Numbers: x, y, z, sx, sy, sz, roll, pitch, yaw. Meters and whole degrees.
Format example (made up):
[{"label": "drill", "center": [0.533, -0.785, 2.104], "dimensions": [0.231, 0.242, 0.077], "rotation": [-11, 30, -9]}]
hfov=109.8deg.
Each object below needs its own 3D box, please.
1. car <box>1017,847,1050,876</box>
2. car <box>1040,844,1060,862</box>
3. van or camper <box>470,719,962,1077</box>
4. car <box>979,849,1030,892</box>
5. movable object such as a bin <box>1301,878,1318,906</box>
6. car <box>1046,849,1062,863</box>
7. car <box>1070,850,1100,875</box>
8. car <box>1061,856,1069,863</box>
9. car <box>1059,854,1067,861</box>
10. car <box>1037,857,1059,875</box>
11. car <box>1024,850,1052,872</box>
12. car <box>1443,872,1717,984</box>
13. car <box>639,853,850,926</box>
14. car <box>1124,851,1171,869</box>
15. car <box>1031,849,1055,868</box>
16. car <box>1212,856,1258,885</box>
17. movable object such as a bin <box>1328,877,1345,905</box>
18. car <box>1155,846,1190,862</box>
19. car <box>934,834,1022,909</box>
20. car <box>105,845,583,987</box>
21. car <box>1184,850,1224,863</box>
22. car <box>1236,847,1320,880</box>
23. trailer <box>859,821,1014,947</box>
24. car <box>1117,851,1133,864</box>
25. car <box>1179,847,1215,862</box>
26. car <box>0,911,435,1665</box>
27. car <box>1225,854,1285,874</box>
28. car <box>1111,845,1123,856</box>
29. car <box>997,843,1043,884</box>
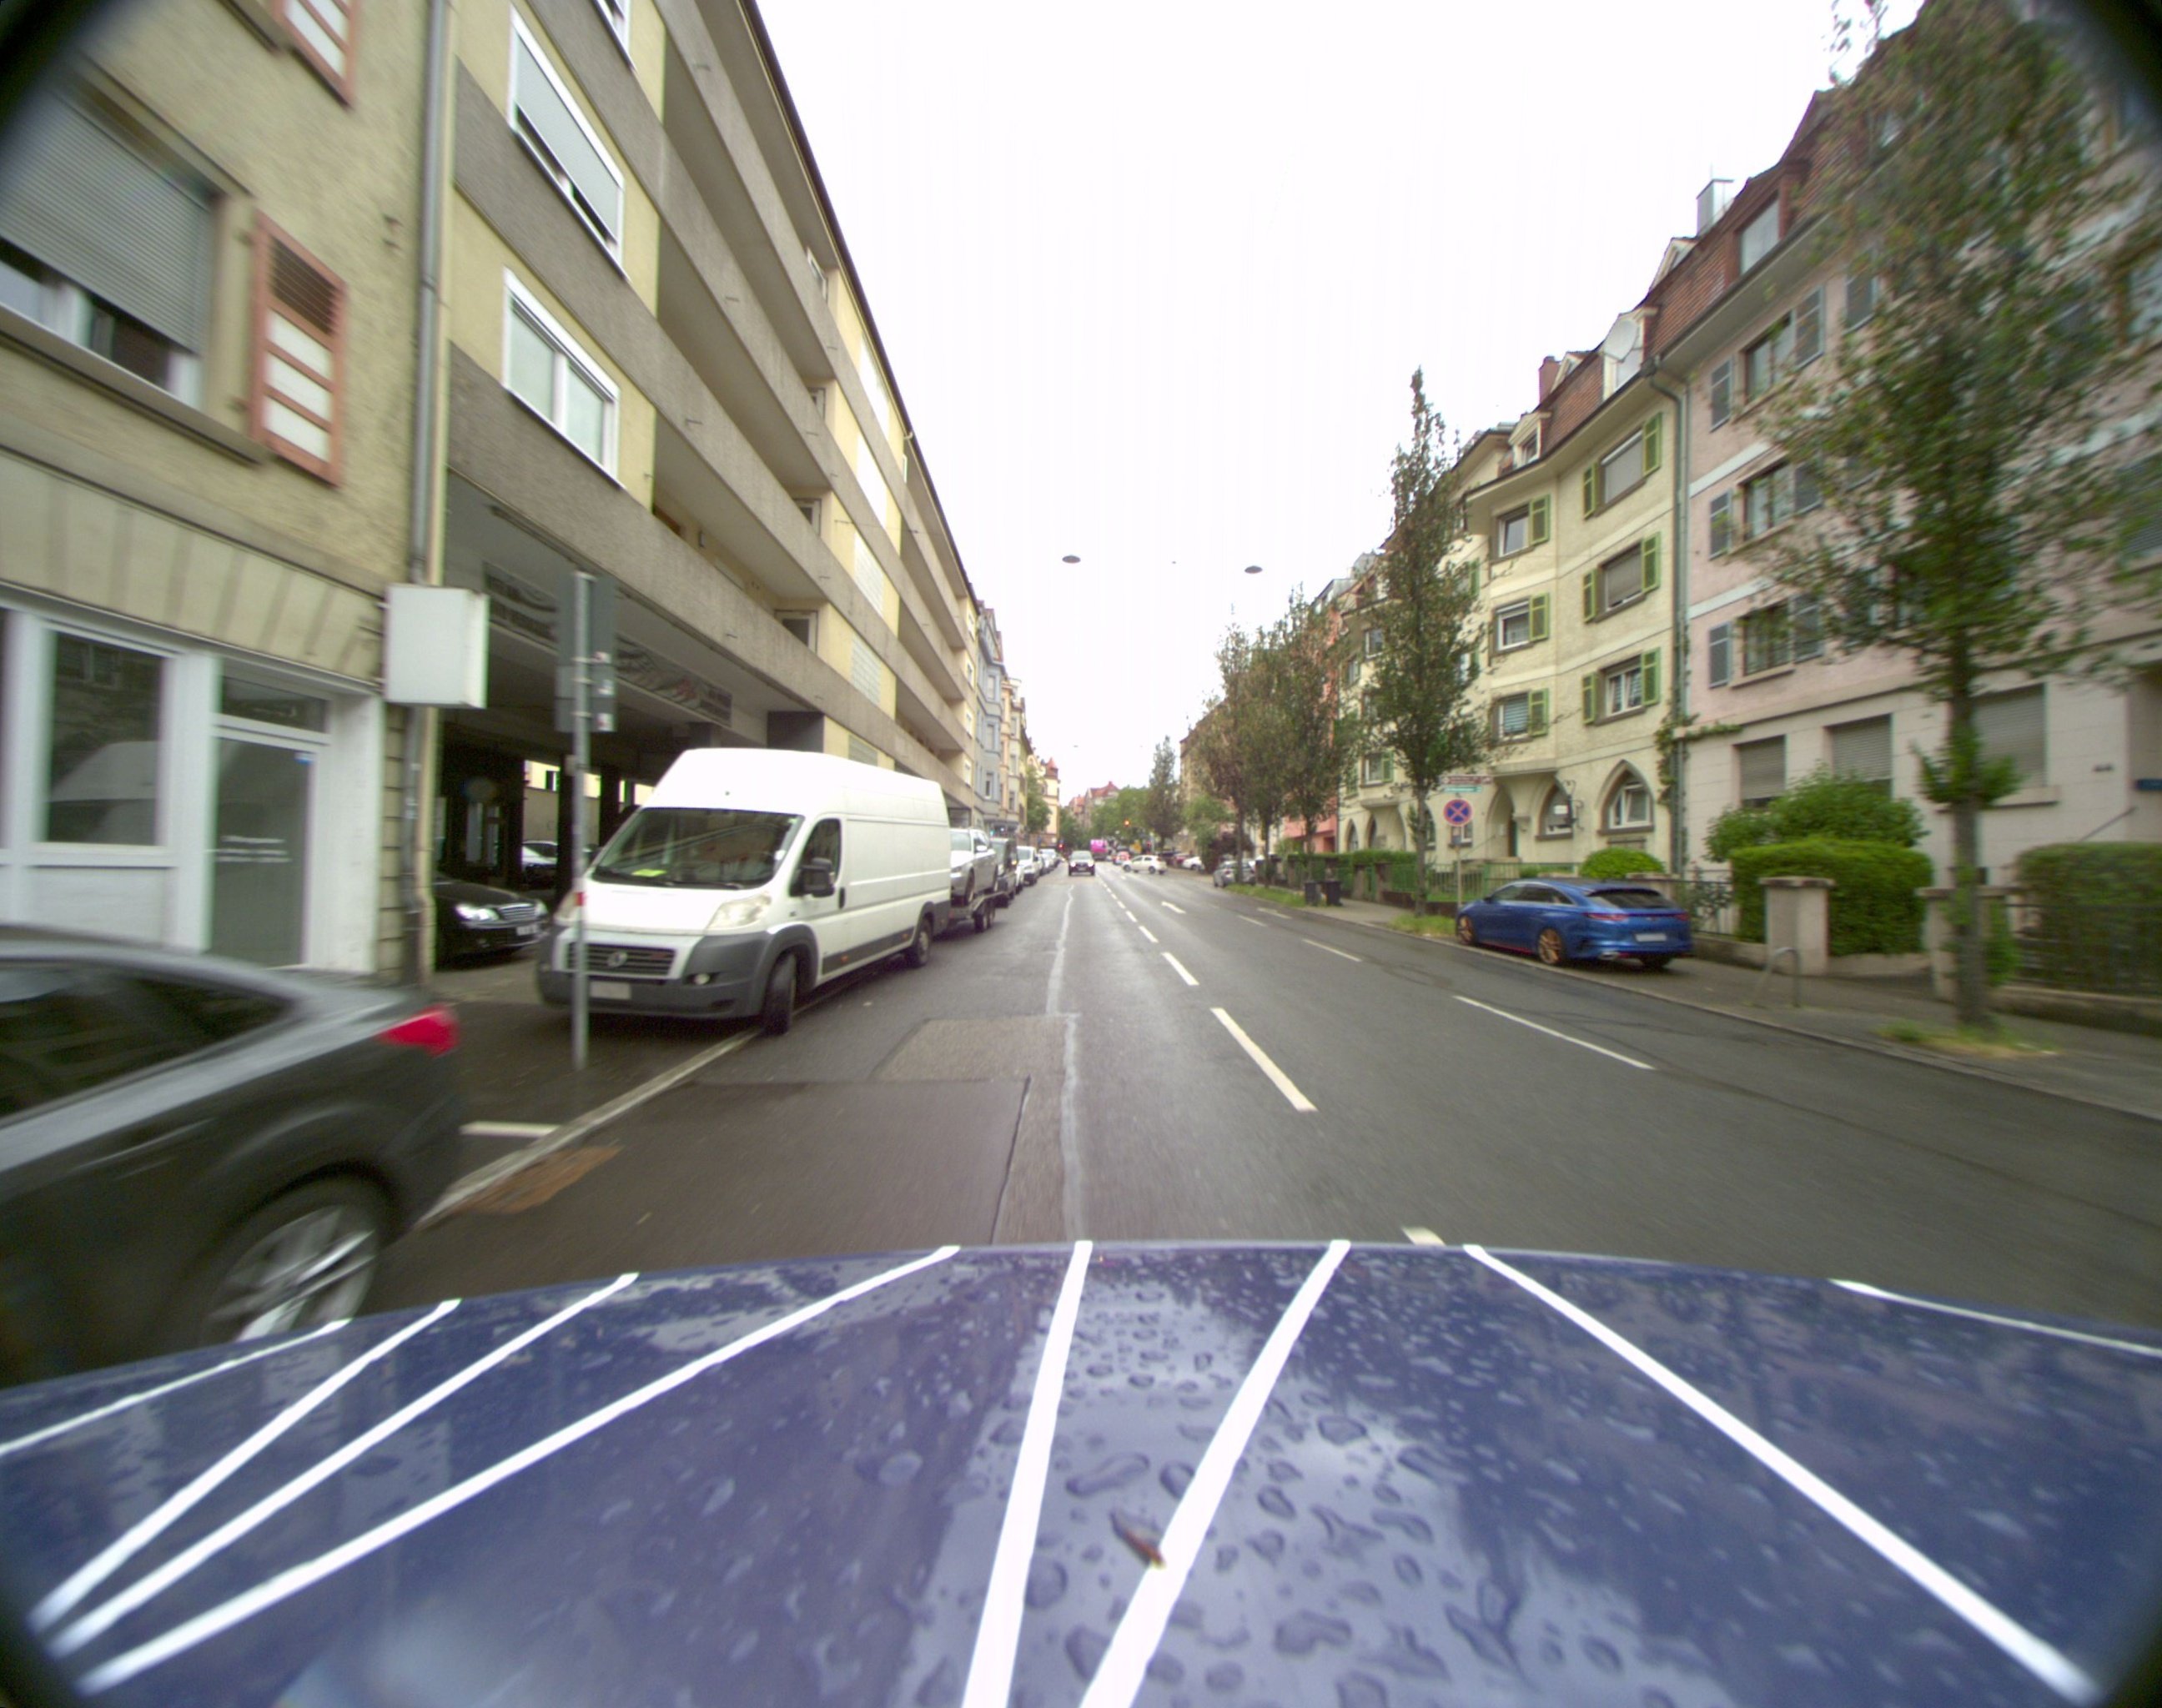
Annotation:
[{"label": "car", "center": [-2.960, 0.450, 47.924], "dimensions": [1.731, 1.588, 4.311], "rotation": [4, 1, 0]}, {"label": "car", "center": [-3.144, -0.137, 78.781], "dimensions": [1.826, 1.808, 4.519], "rotation": [1, 1, 0]}, {"label": "van or camper", "center": [-3.338, 0.302, 9.015], "dimensions": [2.189, 2.684, 6.422], "rotation": [1, 0, 6]}, {"label": "car", "center": [-3.179, 0.660, 32.333], "dimensions": [1.751, 1.630, 4.272], "rotation": [1, 1, -1]}, {"label": "movable object such as a bin", "center": [7.734, 1.278, 25.737], "dimensions": [0.365, 0.884, 0.572], "rotation": [-1, 1, -1]}, {"label": "car", "center": [-2.967, 0.174, 84.194], "dimensions": [1.627, 1.498, 3.745], "rotation": [1, 1, 0]}, {"label": "car", "center": [0.265, 0.542, 53.305], "dimensions": [1.890, 1.543, 3.998], "rotation": [-2, 1, -2]}, {"label": "car", "center": [-3.539, 1.235, 166.073], "dimensions": [1.553, 1.386, 3.745], "rotation": [1, 1, 0]}, {"label": "car", "center": [-3.976, 0.775, 165.826], "dimensions": [1.553, 1.386, 3.745], "rotation": [1, 1, 0]}, {"label": "car", "center": [-2.940, 1.032, 67.556], "dimensions": [1.709, 1.389, 3.932], "rotation": [-2, 1, 0]}, {"label": "car", "center": [-3.099, 0.495, 54.964], "dimensions": [1.731, 1.434, 4.357], "rotation": [1, 1, 0]}, {"label": "car", "center": [8.256, 1.121, 13.206], "dimensions": [1.683, 1.378, 4.601], "rotation": [1, 1, 0]}, {"label": "car", "center": [-7.464, 0.763, 17.075], "dimensions": [3.997, 1.383, 1.558], "rotation": [3, 1, 1]}, {"label": "car", "center": [5.684, 0.480, 65.069], "dimensions": [3.642, 1.464, 1.674], "rotation": [1, 2, 40]}, {"label": "car", "center": [-3.027, 0.349, 60.736], "dimensions": [1.709, 1.434, 3.932], "rotation": [1, 1, 0]}, {"label": "car", "center": [8.441, 0.860, 41.914], "dimensions": [1.685, 1.410, 4.137], "rotation": [1, 1, 0]}, {"label": "movable object such as a bin", "center": [8.710, 1.262, 25.898], "dimensions": [0.365, 0.906, 0.572], "rotation": [-1, 2, -1]}, {"label": "car", "center": [10.983, -0.028, 91.538], "dimensions": [3.930, 1.836, 1.866], "rotation": [1, 1, -3]}, {"label": "car", "center": [-3.230, 0.481, 25.013], "dimensions": [2.159, 2.137, 5.508], "rotation": [1, 1, -1]}, {"label": "car", "center": [-8.442, 0.688, 9.070], "dimensions": [3.663, 1.383, 1.898], "rotation": [3, -1, -5]}, {"label": "car", "center": [12.666, 0.246, 78.425], "dimensions": [3.929, 1.289, 1.646], "rotation": [1, 1, 0]}, {"label": "car", "center": [12.285, 0.575, 47.497], "dimensions": [4.732, 1.894, 1.918], "rotation": [-1, 2, -2]}, {"label": "trailer", "center": [-2.785, 0.546, 15.943], "dimensions": [1.998, 2.139, 5.073], "rotation": [3, 0, 2]}, {"label": "car", "center": [5.725, 0.437, 98.722], "dimensions": [1.772, 1.540, 3.651], "rotation": [-1, 1, 0]}, {"label": "car", "center": [13.448, 0.086, 88.509], "dimensions": [3.929, 1.613, 1.592], "rotation": [1, 1, 0]}, {"label": "car", "center": [-3.105, 0.983, 0.583], "dimensions": [1.782, 1.471, 4.187], "rotation": [1, 1, -3]}, {"label": "car", "center": [12.791, 0.738, 55.925], "dimensions": [3.931, 1.389, 1.724], "rotation": [1, 1, -6]}, {"label": "car", "center": [5.086, -0.505, 107.078], "dimensions": [1.669, 1.448, 3.652], "rotation": [0, 1, 3]}, {"label": "car", "center": [-3.135, 0.438, 40.067], "dimensions": [1.994, 1.945, 4.821], "rotation": [1, 1, 0]}]
